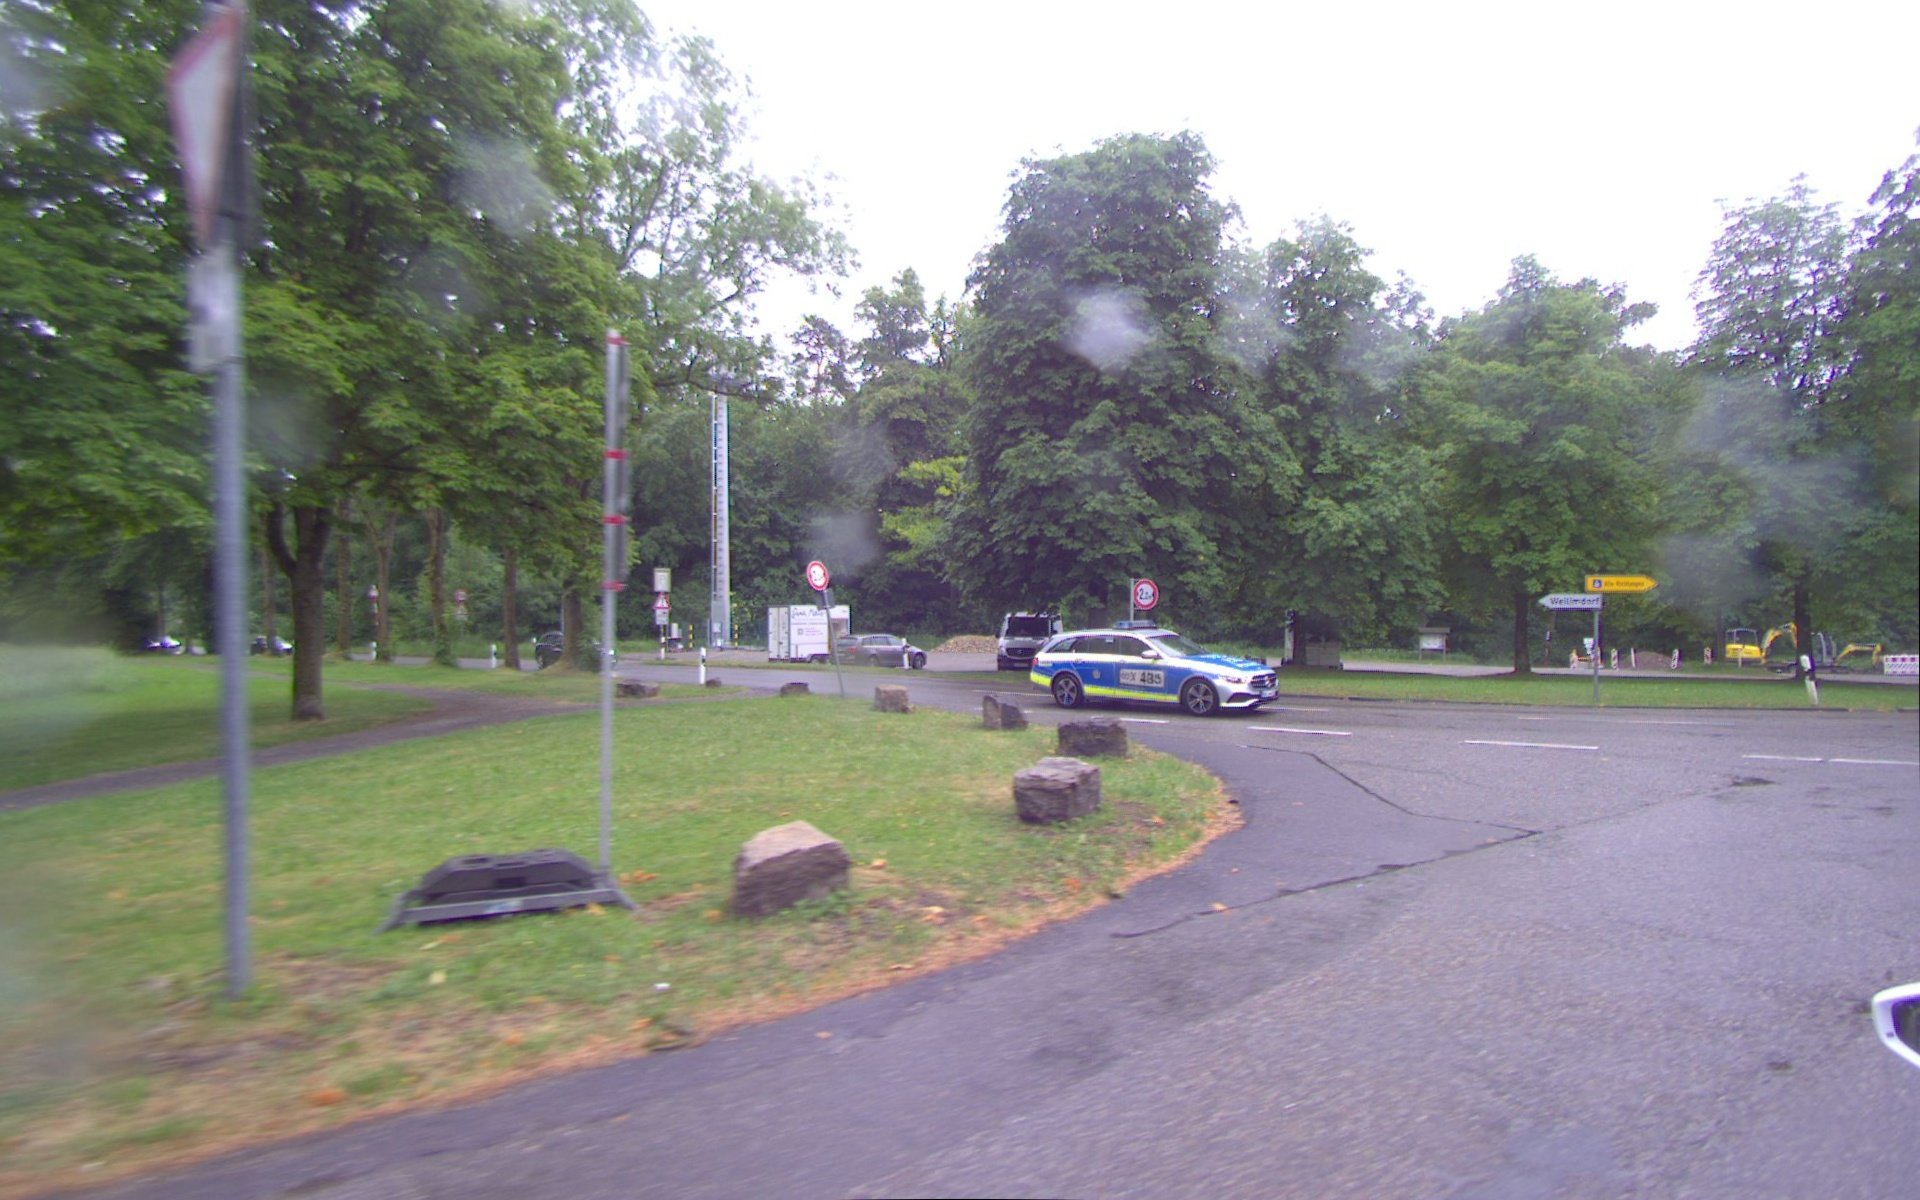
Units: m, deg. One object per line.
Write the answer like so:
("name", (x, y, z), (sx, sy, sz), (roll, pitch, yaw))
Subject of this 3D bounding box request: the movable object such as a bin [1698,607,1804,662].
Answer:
("movable object such as a bin", (49.897, 2.126, 63.385), (3.883, 3.337, 4.615), (1, -1, -41))

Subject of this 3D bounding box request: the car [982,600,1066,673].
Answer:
("car", (2.551, 1.365, 38.246), (2.344, 2.439, 5.988), (2, -1, 12))

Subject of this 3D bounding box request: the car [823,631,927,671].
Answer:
("car", (-3.363, 2.000, 40.126), (1.743, 1.448, 4.086), (0, -1, 41))

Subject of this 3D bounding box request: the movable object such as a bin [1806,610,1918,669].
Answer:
("movable object such as a bin", (53.713, 2.301, 59.842), (3.637, 3.337, 4.542), (1, -1, -41))

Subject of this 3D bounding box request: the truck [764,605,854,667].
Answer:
("truck", (-6.318, 1.476, 42.165), (3.327, 2.475, 1.851), (1, -1, -45))

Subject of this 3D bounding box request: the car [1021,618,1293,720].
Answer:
("car", (3.540, 1.176, 18.777), (4.835, 1.621, 1.721), (0, -1, 44))

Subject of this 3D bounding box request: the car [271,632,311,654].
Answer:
("car", (-49.302, 3.119, 74.004), (1.720, 1.502, 4.123), (1, -1, -44))

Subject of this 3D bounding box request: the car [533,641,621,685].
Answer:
("car", (-14.848, 2.393, 38.859), (1.720, 1.502, 4.123), (1, -1, -44))
